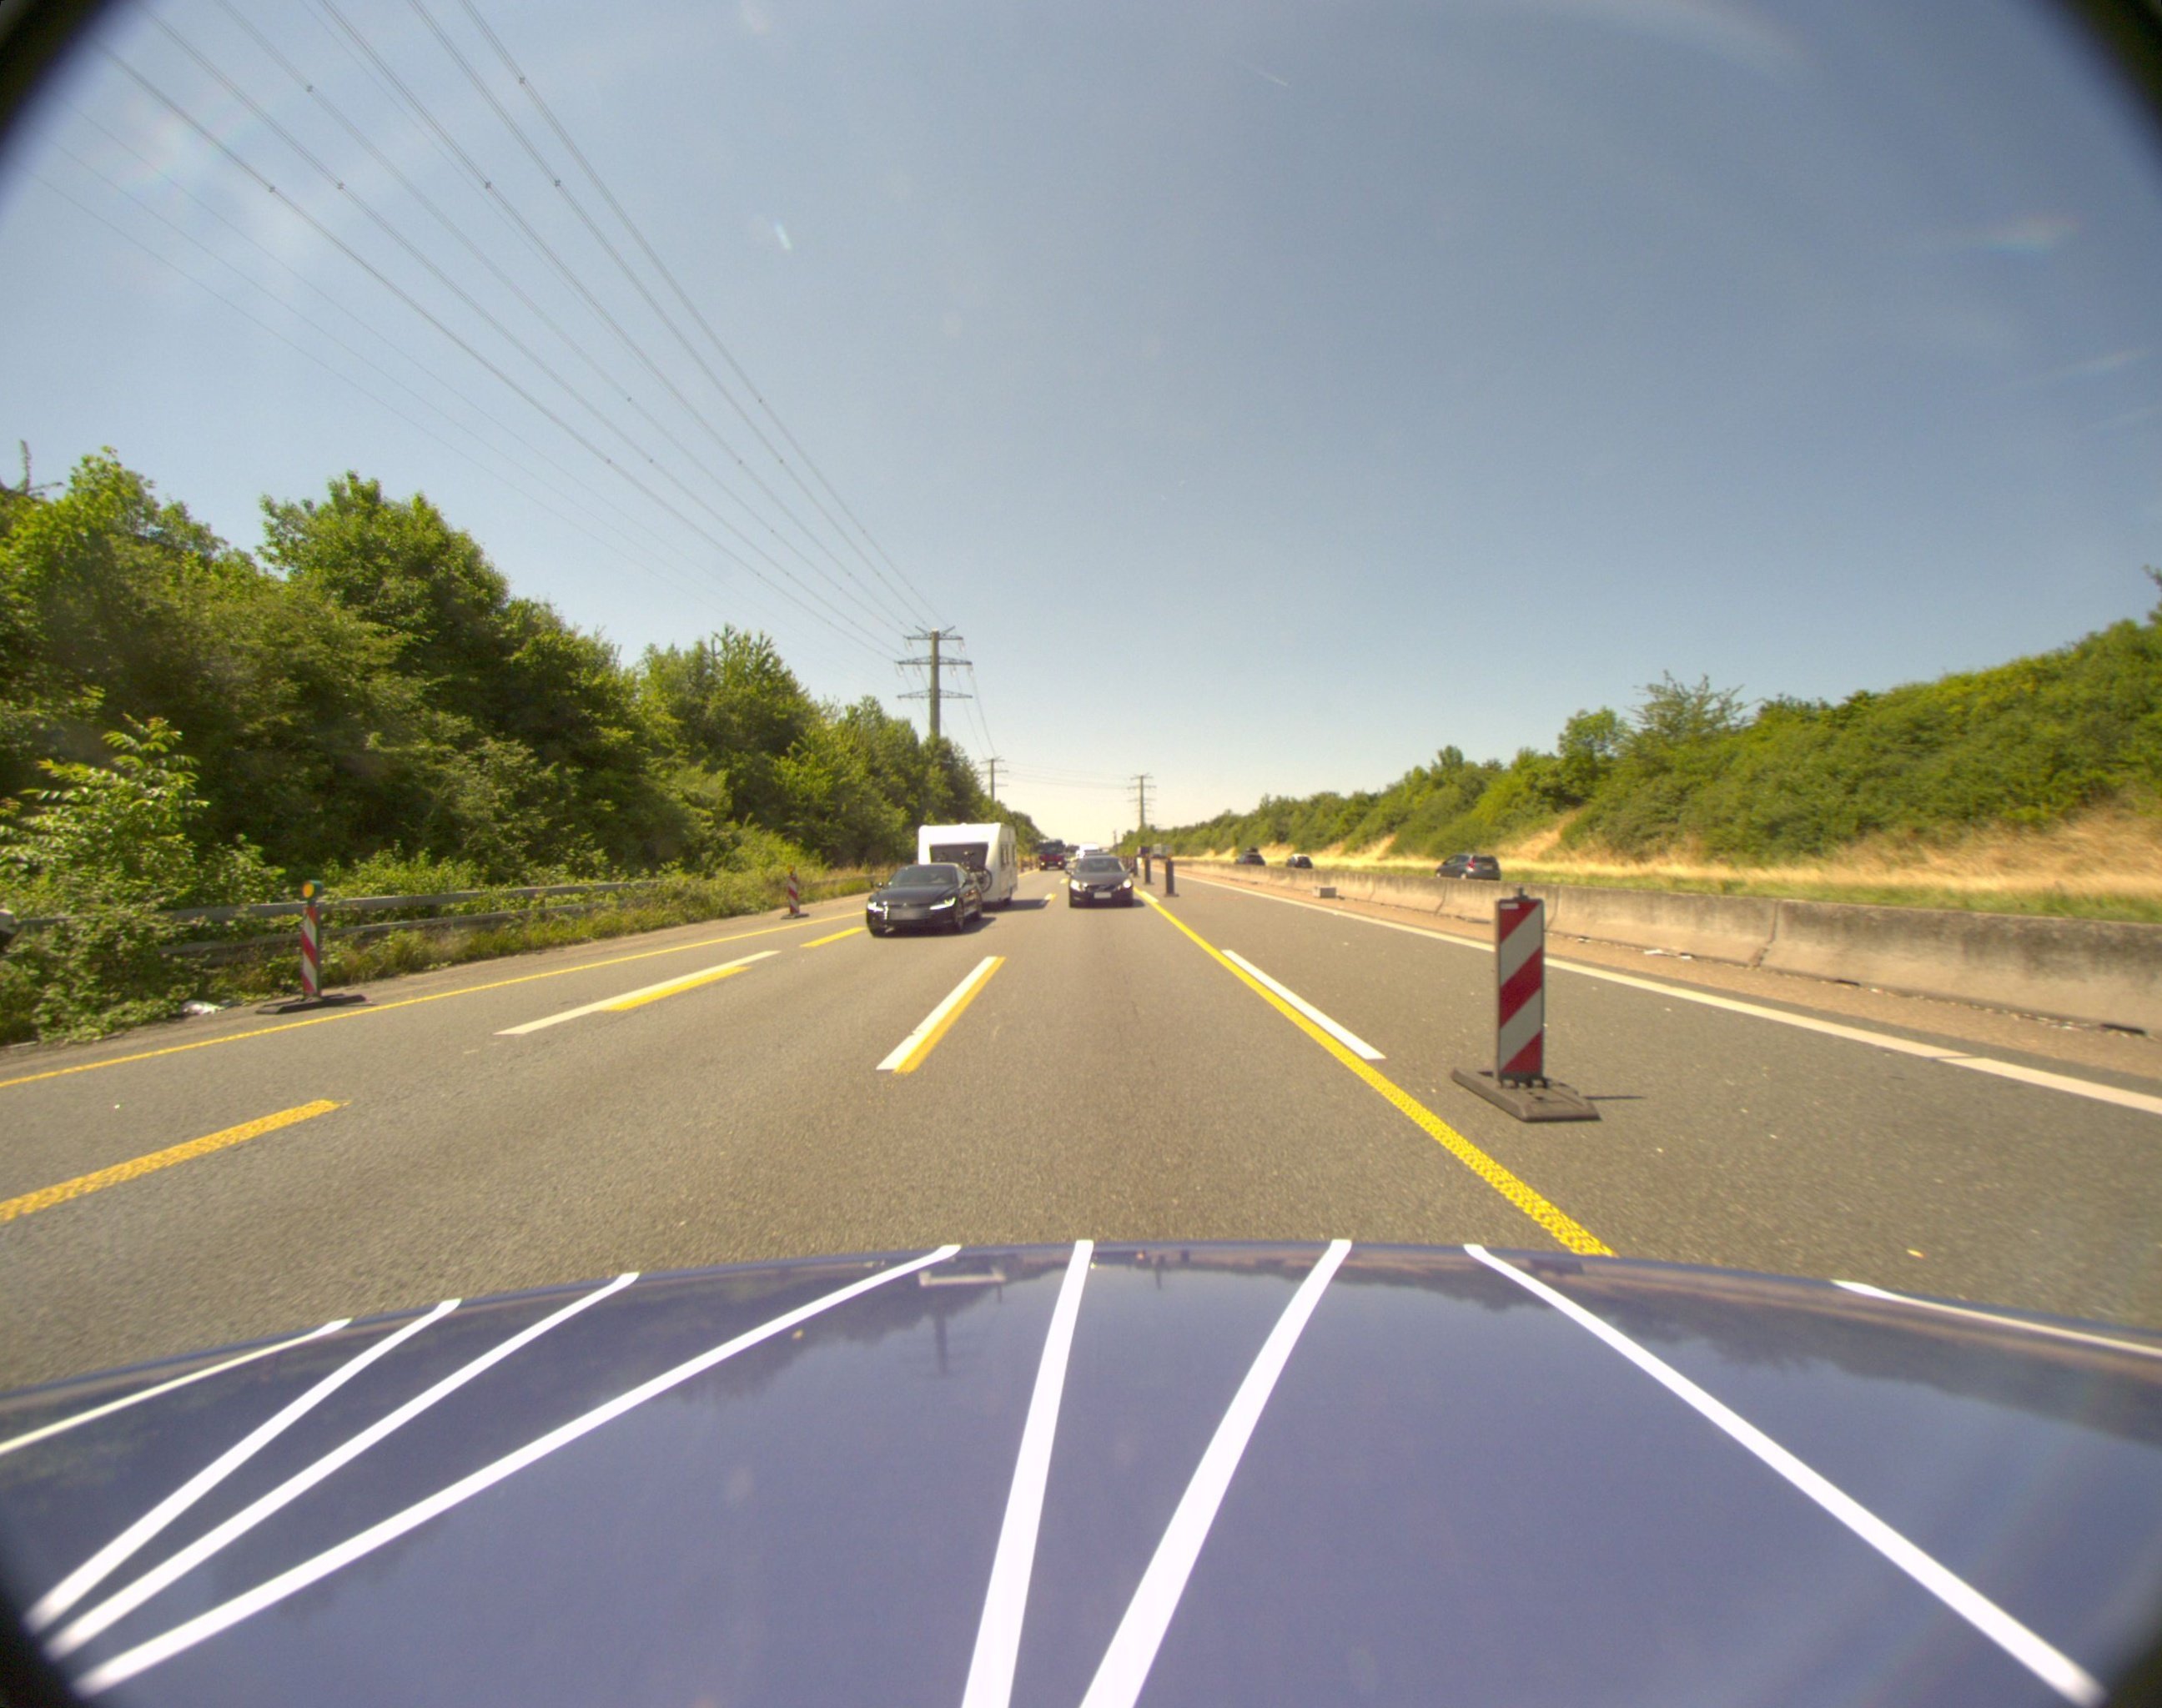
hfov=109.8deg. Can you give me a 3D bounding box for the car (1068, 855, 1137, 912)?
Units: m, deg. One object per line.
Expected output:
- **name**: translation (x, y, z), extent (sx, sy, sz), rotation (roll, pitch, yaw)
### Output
- **car**: translation (0.649, 0.799, 22.347), extent (1.798, 1.433, 4.000), rotation (-2, 0, 2)

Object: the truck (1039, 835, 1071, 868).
- **truck**: translation (-2.606, -0.293, 78.721), extent (2.431, 3.122, 7.648), rotation (-4, 0, 3)

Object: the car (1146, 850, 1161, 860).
- **car**: translation (11.690, 0.197, 123.076), extent (1.998, 1.591, 4.582), rotation (0, 0, 1)

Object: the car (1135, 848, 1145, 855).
- **car**: translation (12.954, -0.523, 166.330), extent (1.853, 1.452, 4.488), rotation (0, 0, 0)

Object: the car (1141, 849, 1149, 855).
- **car**: translation (15.643, -0.485, 185.781), extent (1.507, 1.388, 4.088), rotation (-1, 0, -2)

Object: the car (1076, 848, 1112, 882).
- **car**: translation (0.761, 0.548, 41.111), extent (1.675, 1.619, 4.691), rotation (-4, 0, 3)

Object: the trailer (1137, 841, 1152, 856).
- **trailer**: translation (17.934, -1.521, 215.607), extent (3.168, 4.156, 13.682), rotation (0, 0, 0)

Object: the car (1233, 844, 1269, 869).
- **car**: translation (13.001, 0.148, 58.385), extent (1.746, 1.807, 4.622), rotation (0, 1, 0)

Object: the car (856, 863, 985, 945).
- **car**: translation (-3.308, 0.976, 16.494), extent (1.800, 1.399, 4.209), rotation (-2, 0, 1)

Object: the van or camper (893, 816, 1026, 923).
- **van or camper**: translation (-3.274, 0.358, 22.848), extent (2.432, 2.549, 8.417), rotation (-2, 0, 1)

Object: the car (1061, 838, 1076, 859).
- **car**: translation (-2.384, -1.057, 148.652), extent (2.397, 3.779, 10.273), rotation (-2, 1, 2)

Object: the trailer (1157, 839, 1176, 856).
- **trailer**: translation (20.592, -1.563, 183.588), extent (2.960, 4.038, 13.636), rotation (1, 0, 0)

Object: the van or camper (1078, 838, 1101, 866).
- **van or camper**: translation (0.851, -0.205, 72.111), extent (1.998, 2.604, 5.629), rotation (0, 0, 2)

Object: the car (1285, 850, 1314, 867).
- **car**: translation (19.845, 0.396, 69.168), extent (1.578, 1.456, 3.778), rotation (0, 1, 1)

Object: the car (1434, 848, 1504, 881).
- **car**: translation (19.243, 0.491, 37.853), extent (1.503, 1.539, 4.000), rotation (0, 1, 0)

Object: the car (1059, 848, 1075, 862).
- **car**: translation (-1.920, 0.075, 105.319), extent (1.850, 1.810, 3.926), rotation (-2, 1, 1)
